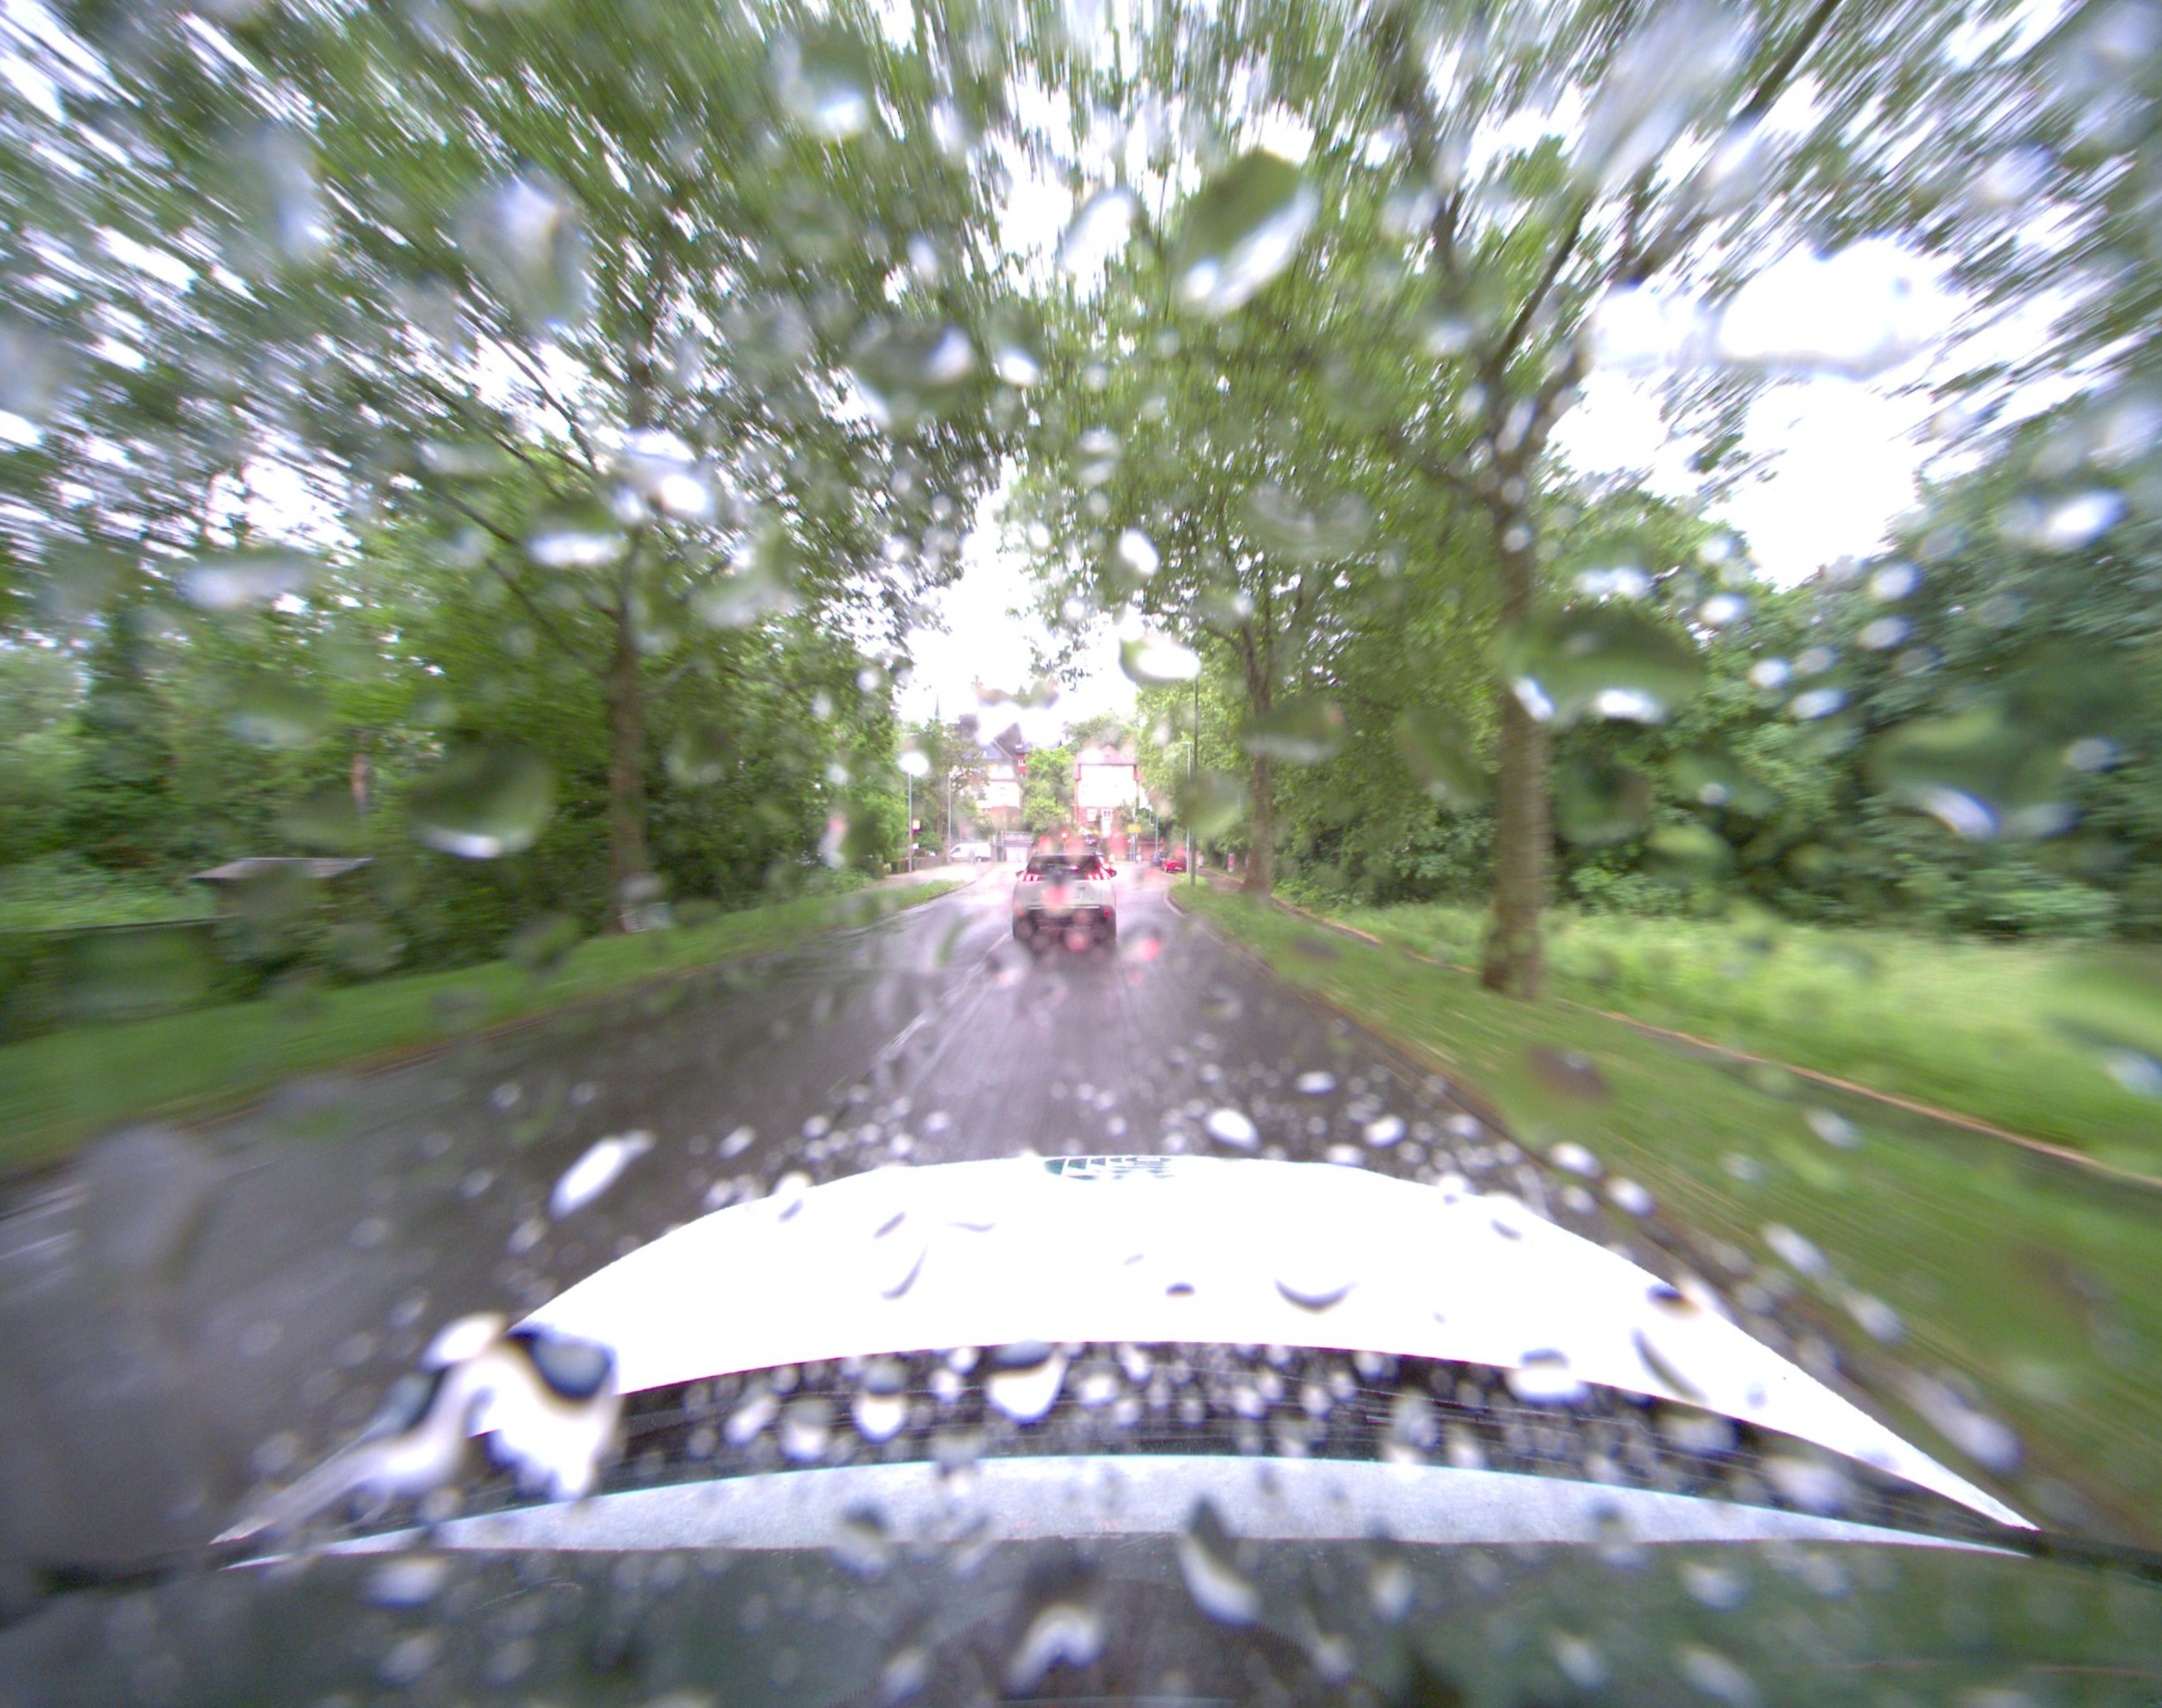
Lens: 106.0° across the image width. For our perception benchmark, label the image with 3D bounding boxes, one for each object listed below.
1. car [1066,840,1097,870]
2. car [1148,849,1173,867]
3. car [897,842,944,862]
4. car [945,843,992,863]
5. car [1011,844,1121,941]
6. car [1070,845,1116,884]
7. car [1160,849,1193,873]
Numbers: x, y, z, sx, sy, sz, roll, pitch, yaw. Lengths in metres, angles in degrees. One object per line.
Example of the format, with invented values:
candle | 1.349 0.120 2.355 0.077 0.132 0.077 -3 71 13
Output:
car | 0.011 0.013 49.537 1.755 1.711 4.599 1 1 -1
car | 6.982 0.318 71.795 1.743 1.491 3.600 3 0 0
car | -20.628 -0.204 104.736 5.541 2.494 2.316 1 -1 2
car | -14.433 -0.137 104.469 5.639 2.494 2.316 1 -1 2
car | -0.211 0.601 15.249 1.746 1.536 4.368 -1 0 1
car | 0.524 0.408 35.740 1.825 1.456 4.660 3 1 1
car | 7.221 0.510 62.173 1.815 1.517 3.741 7 2 -2
